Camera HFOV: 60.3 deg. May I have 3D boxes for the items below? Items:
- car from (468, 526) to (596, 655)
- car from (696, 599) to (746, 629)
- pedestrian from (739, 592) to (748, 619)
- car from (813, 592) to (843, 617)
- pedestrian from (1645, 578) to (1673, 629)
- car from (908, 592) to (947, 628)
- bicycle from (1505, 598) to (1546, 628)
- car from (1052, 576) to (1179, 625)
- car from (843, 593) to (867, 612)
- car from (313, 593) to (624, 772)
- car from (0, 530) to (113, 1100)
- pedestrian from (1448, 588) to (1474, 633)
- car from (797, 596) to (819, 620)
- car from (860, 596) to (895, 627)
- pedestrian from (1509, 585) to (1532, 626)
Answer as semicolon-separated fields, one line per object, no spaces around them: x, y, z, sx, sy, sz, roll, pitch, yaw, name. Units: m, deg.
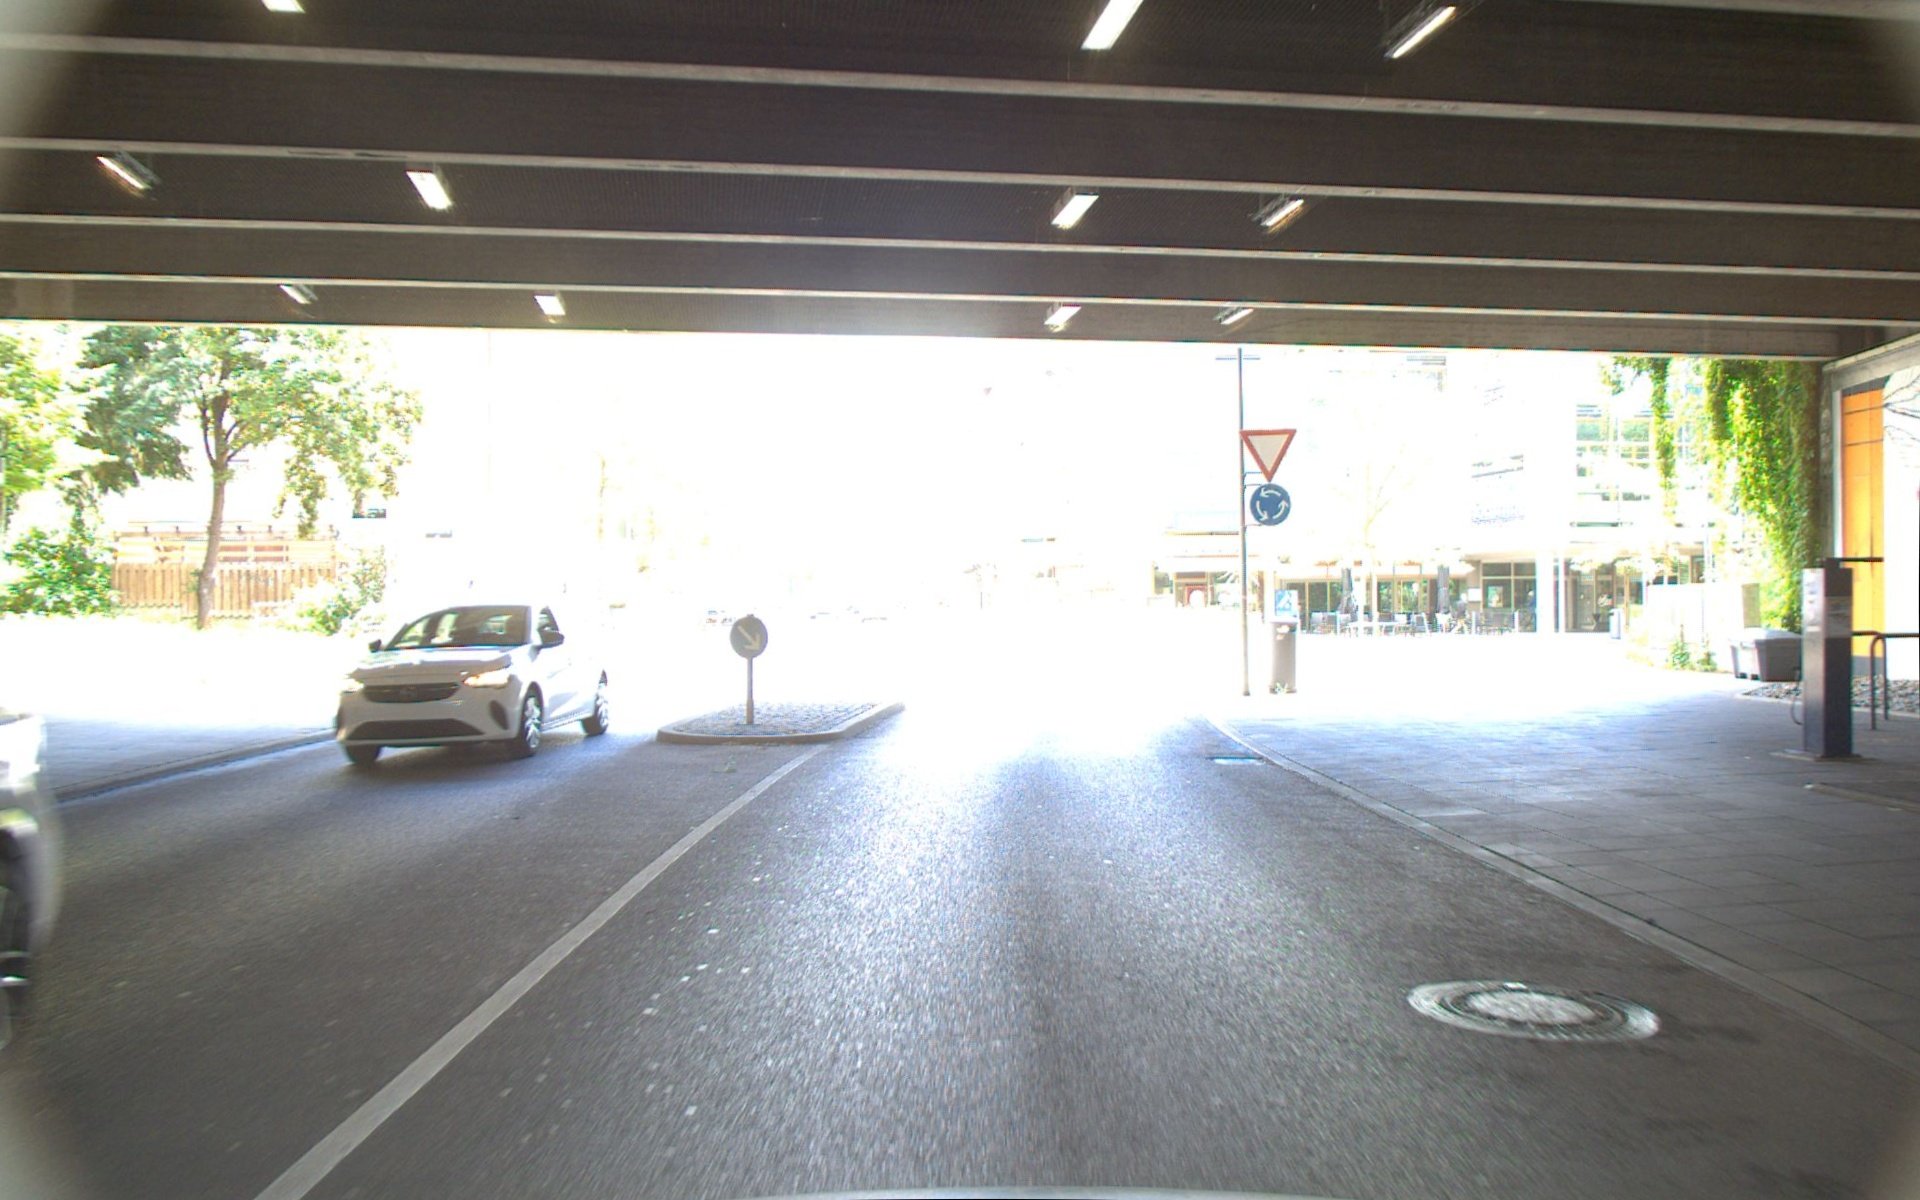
-9.554;-0.206;37.361;1.930;2.652;5.922;1;0;-6;car
-10.793;0.614;74.928;1.675;1.267;4.411;0;0;-1;car
-13.651;0.335;104.151;0.540;1.715;0.515;0;0;-5;pedestrian
-7.720;0.245;96.633;1.676;1.378;3.995;0;0;-6;car
25.994;0.124;61.497;0.604;1.850;0.697;-4;0;-8;pedestrian
-1.642;0.510;84.954;1.786;1.761;4.233;-1;0;1;car
23.596;0.539;69.030;1.510;1.188;0.495;1;-1;31;bicycle
5.698;0.002;61.056;1.983;1.717;4.621;0;0;-42;car
-7.718;0.145;121.369;1.676;1.378;3.995;0;0;-6;car
-4.570;0.691;15.973;1.636;1.473;3.854;-1;0;3;car
-3.614;0.659;3.484;1.790;1.682;4.209;-1;0;-6;car
18.939;0.387;62.527;0.687;1.704;0.612;1;0;-26;pedestrian
-11.521;0.573;125.356;1.676;1.742;3.995;0;0;-6;car
-4.312;0.589;86.413;1.788;1.546;4.230;-1;0;-3;car
23.490;0.248;69.283;0.683;1.704;0.615;0;0;-13;pedestrian
